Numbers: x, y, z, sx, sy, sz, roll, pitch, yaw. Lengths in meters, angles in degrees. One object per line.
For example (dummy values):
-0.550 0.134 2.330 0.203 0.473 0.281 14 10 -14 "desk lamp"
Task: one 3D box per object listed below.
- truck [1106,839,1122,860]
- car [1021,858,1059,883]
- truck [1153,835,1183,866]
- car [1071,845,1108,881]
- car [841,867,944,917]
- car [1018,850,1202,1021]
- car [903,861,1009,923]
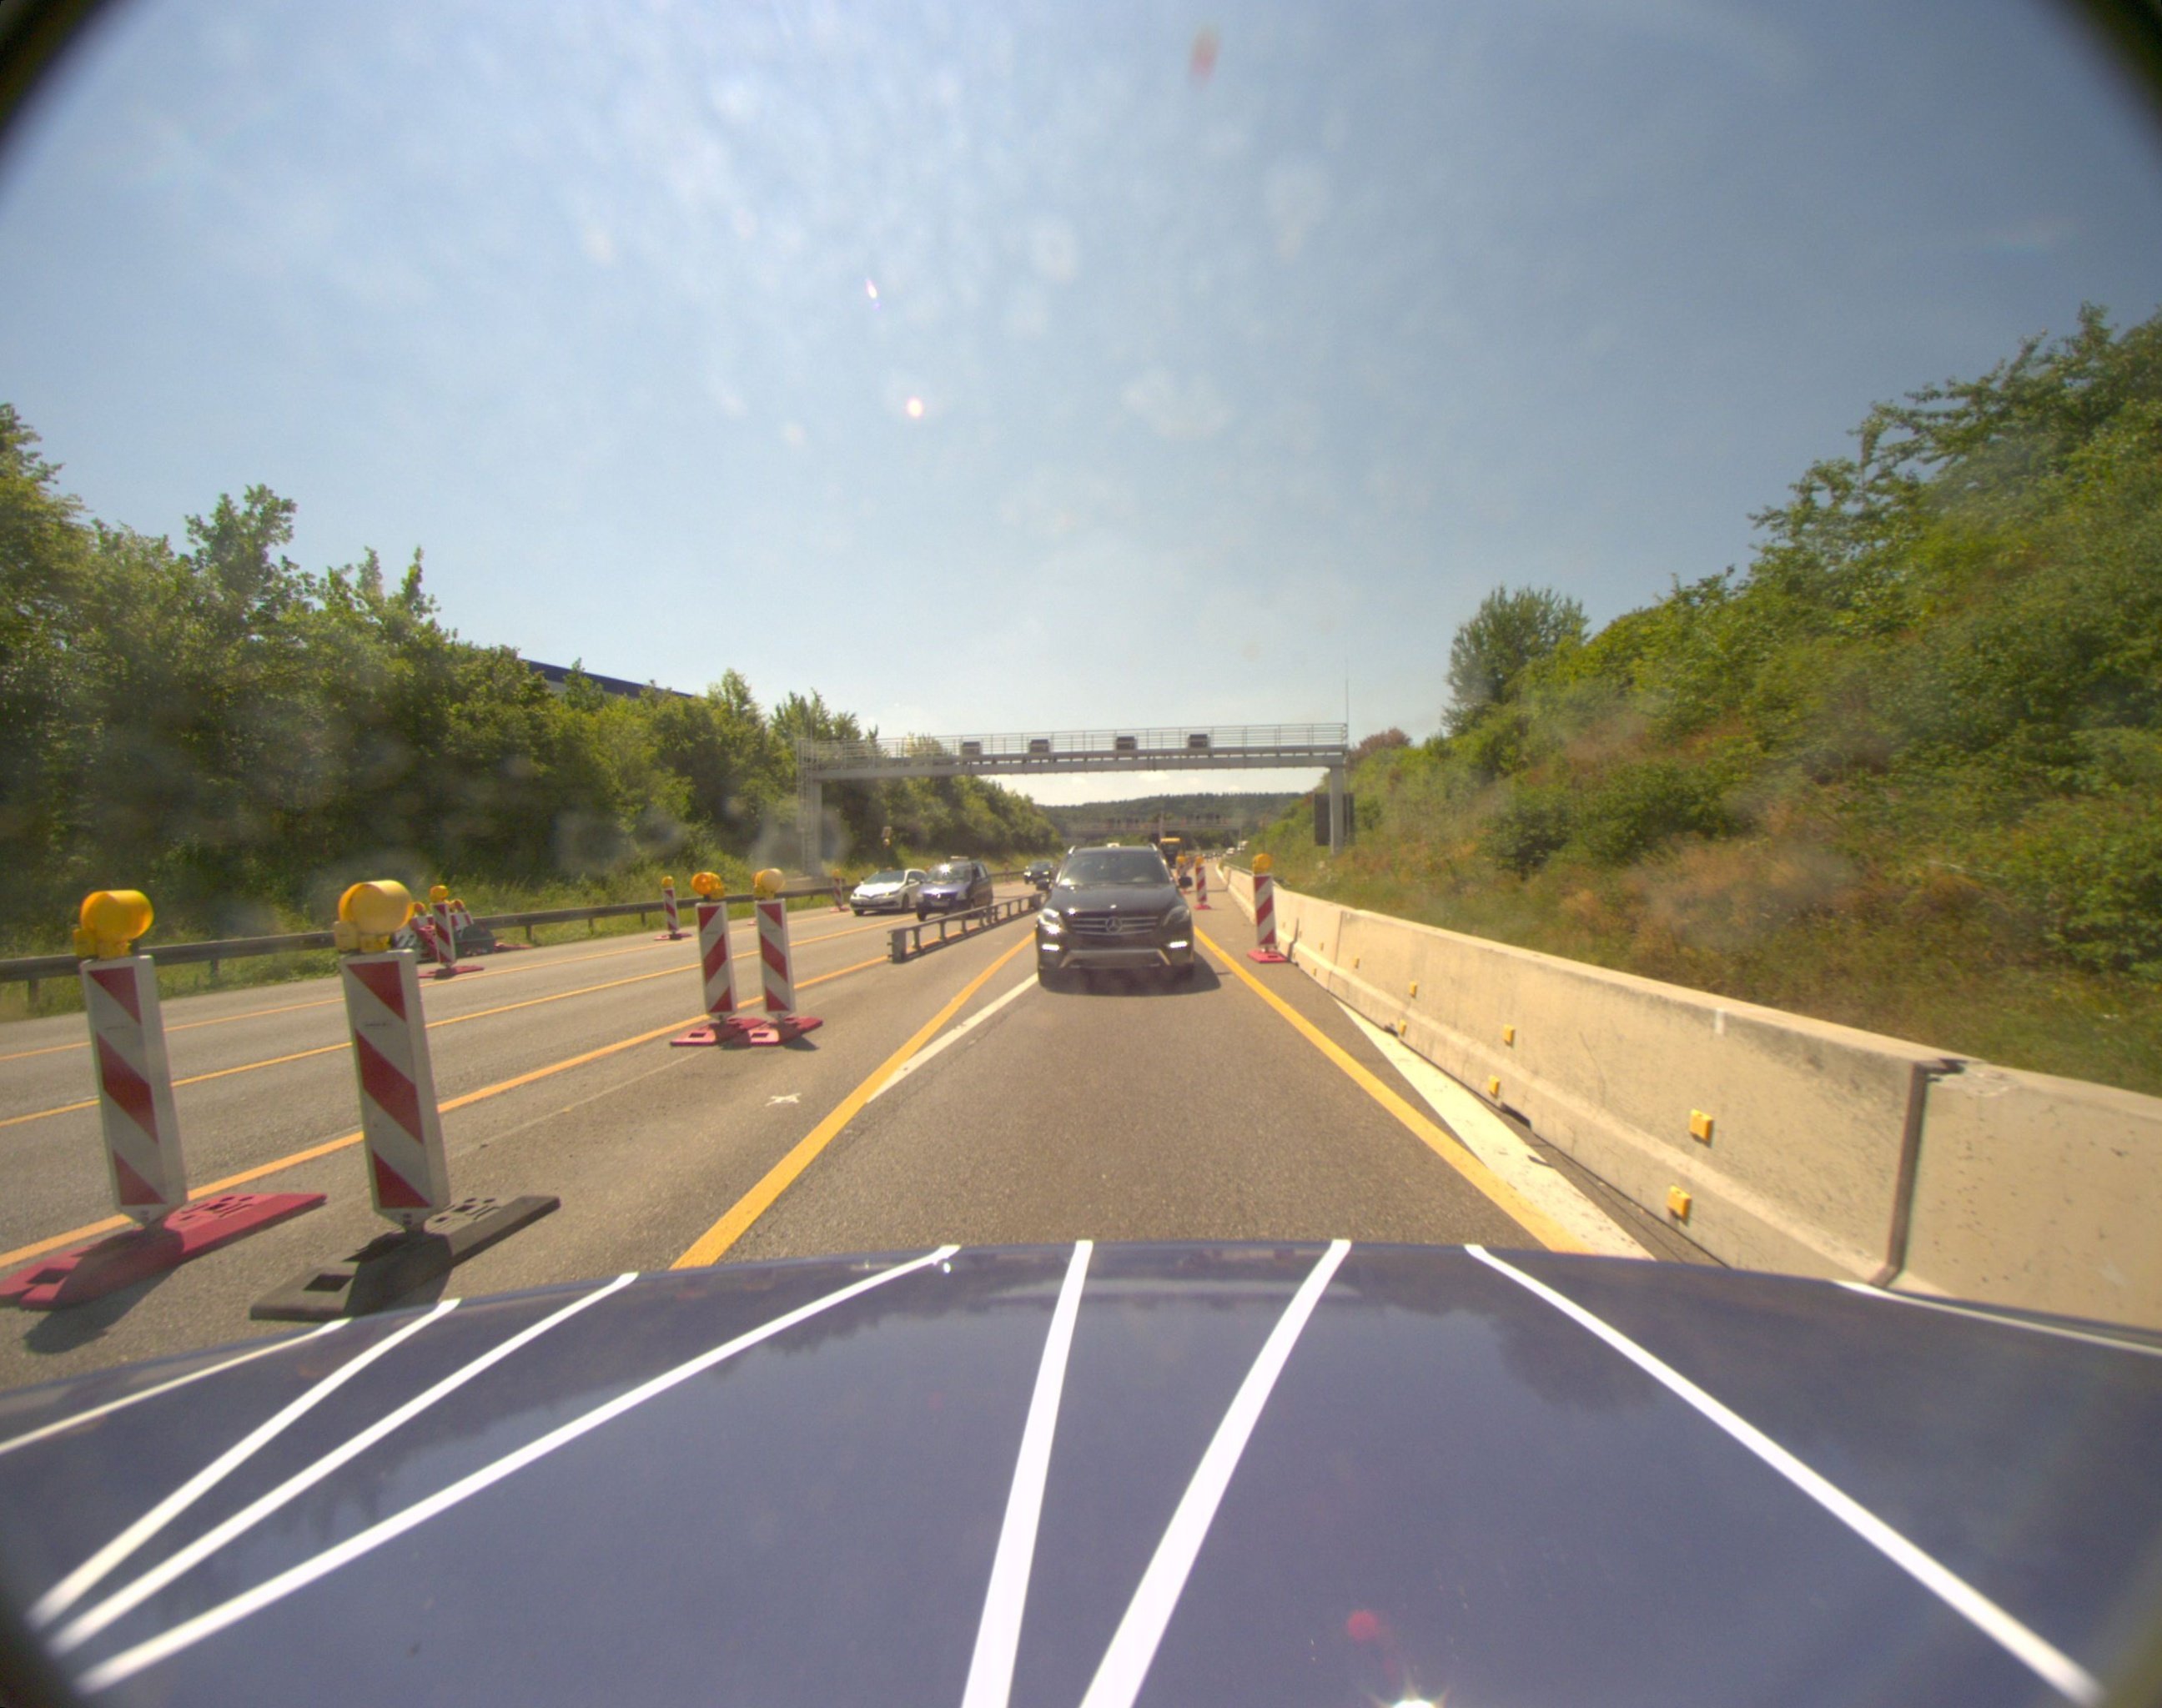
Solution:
6.667 -0.887 151.620 2.532 3.927 5.602 -2 0 7 "truck"
-2.932 1.181 55.494 2.023 1.653 5.239 -1 0 5 "car"
10.787 -0.360 93.695 3.227 3.639 7.088 -2 -1 8 "truck"
0.728 0.636 57.623 2.270 2.521 6.587 -1 0 5 "car"
-6.444 1.275 26.617 1.818 1.456 4.655 -2 0 8 "car"
0.457 0.833 9.966 1.819 1.685 4.495 -2 0 4 "car"
-3.708 1.077 23.435 1.818 1.633 4.655 -2 0 8 "car"
